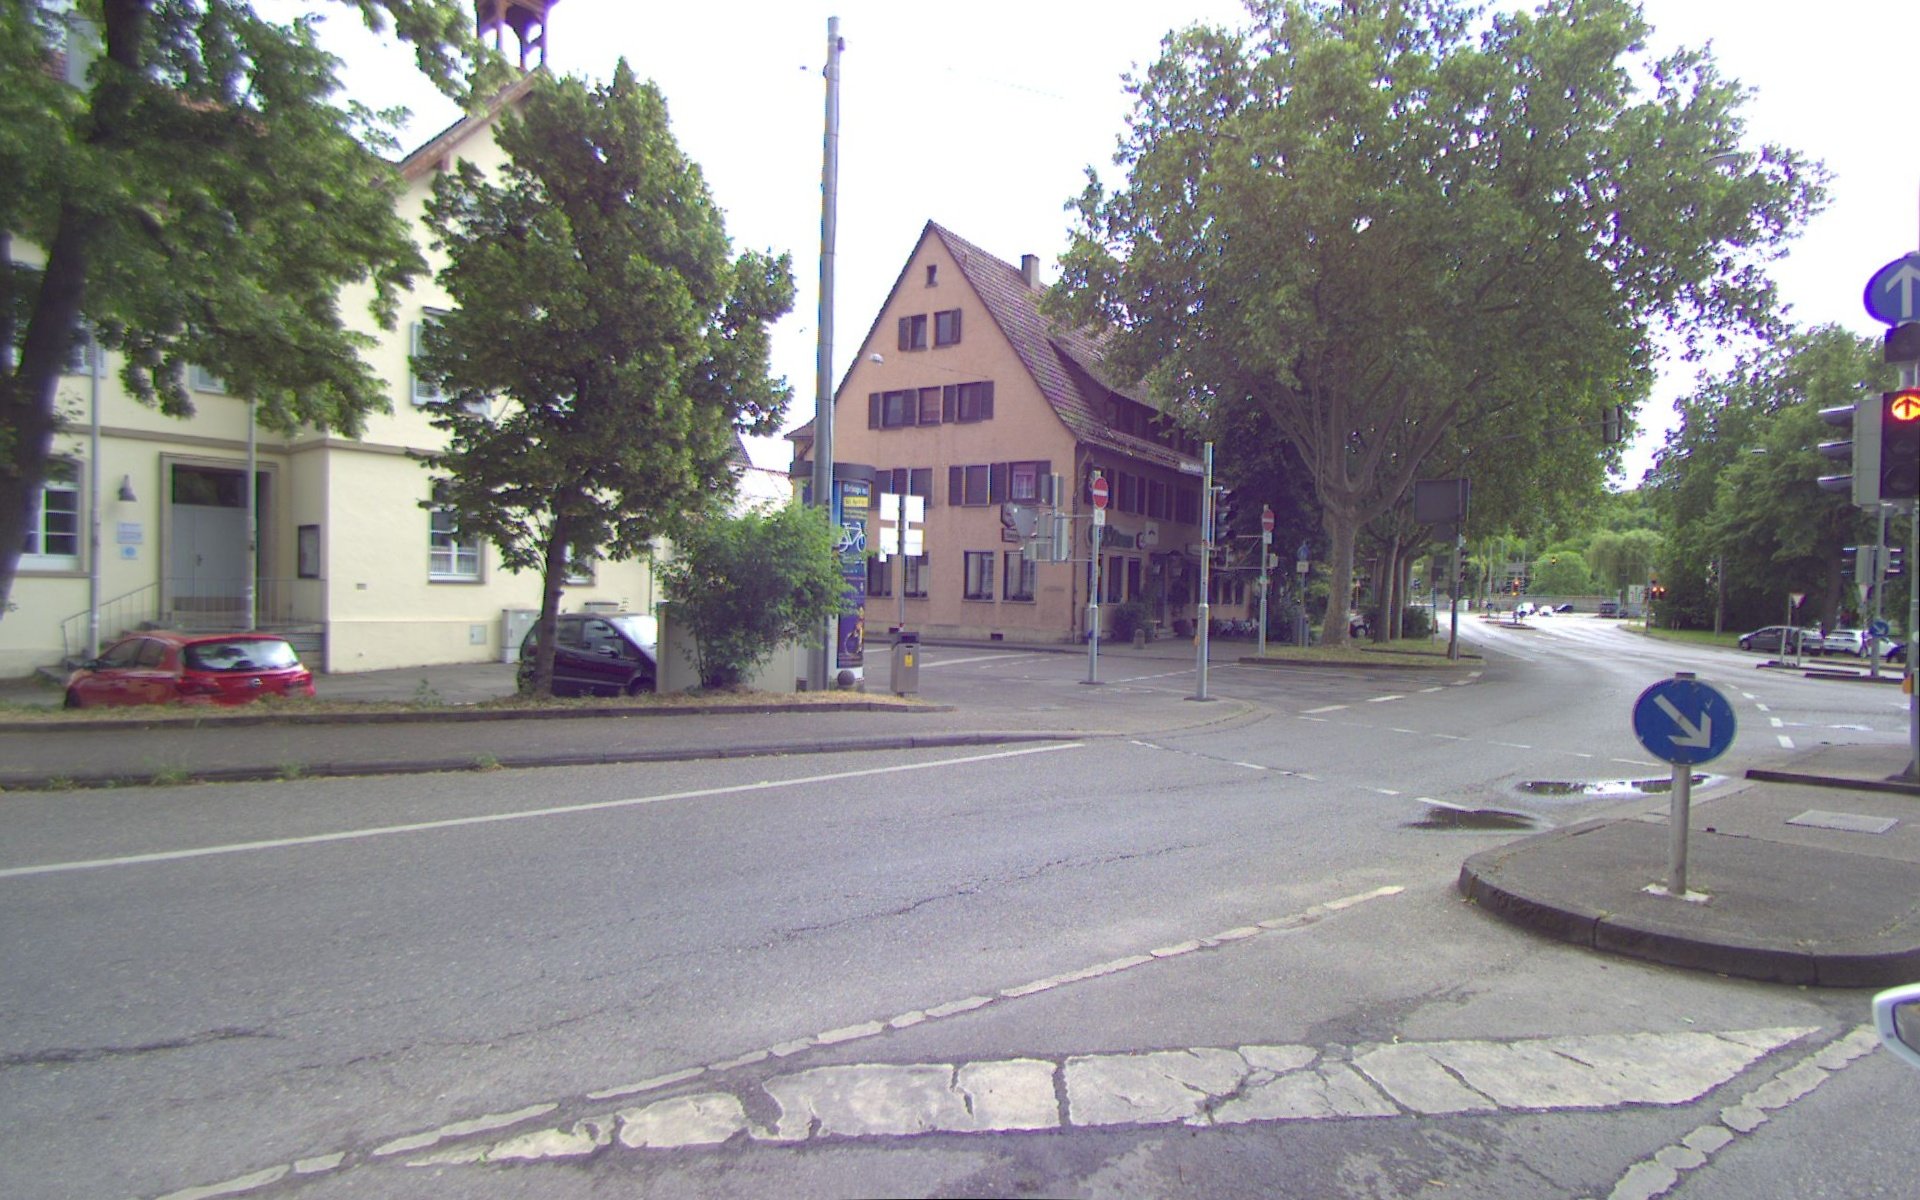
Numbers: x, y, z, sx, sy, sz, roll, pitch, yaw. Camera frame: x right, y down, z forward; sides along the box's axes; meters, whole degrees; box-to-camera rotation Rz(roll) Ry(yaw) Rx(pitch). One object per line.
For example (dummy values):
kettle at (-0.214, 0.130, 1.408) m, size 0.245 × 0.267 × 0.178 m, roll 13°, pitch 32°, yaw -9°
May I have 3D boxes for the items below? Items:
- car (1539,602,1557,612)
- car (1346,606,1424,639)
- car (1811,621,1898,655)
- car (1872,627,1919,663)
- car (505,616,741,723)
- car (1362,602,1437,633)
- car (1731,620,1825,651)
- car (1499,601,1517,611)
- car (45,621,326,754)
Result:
car at (90.956, 1.129, 155.330) m, size 1.469 × 1.436 × 3.028 m, roll 3°, pitch 0°, yaw 11°
car at (24.004, 1.251, 56.708) m, size 3.924 × 1.706 × 1.998 m, roll 1°, pitch 0°, yaw 25°
car at (47.469, 2.036, 53.325) m, size 3.696 × 1.662 × 1.859 m, roll 2°, pitch 0°, yaw -19°
car at (39.452, 1.859, 40.765) m, size 1.746 × 1.370 × 3.326 m, roll 2°, pitch 0°, yaw -2°
car at (-5.528, 1.056, 16.445) m, size 3.507 × 1.459 × 1.644 m, roll 2°, pitch 0°, yaw 26°
car at (25.736, 1.007, 58.785) m, size 3.924 × 1.706 × 1.998 m, roll 1°, pitch 0°, yaw 25°
car at (43.825, 1.875, 53.907) m, size 1.592 × 1.485 × 3.778 m, roll 2°, pitch 0°, yaw -11°
car at (85.294, 0.953, 156.412) m, size 1.553 × 1.506 × 3.337 m, roll 3°, pitch 0°, yaw 12°
car at (-10.279, 1.052, 13.298) m, size 3.653 × 1.401 × 1.659 m, roll 2°, pitch 0°, yaw 30°
